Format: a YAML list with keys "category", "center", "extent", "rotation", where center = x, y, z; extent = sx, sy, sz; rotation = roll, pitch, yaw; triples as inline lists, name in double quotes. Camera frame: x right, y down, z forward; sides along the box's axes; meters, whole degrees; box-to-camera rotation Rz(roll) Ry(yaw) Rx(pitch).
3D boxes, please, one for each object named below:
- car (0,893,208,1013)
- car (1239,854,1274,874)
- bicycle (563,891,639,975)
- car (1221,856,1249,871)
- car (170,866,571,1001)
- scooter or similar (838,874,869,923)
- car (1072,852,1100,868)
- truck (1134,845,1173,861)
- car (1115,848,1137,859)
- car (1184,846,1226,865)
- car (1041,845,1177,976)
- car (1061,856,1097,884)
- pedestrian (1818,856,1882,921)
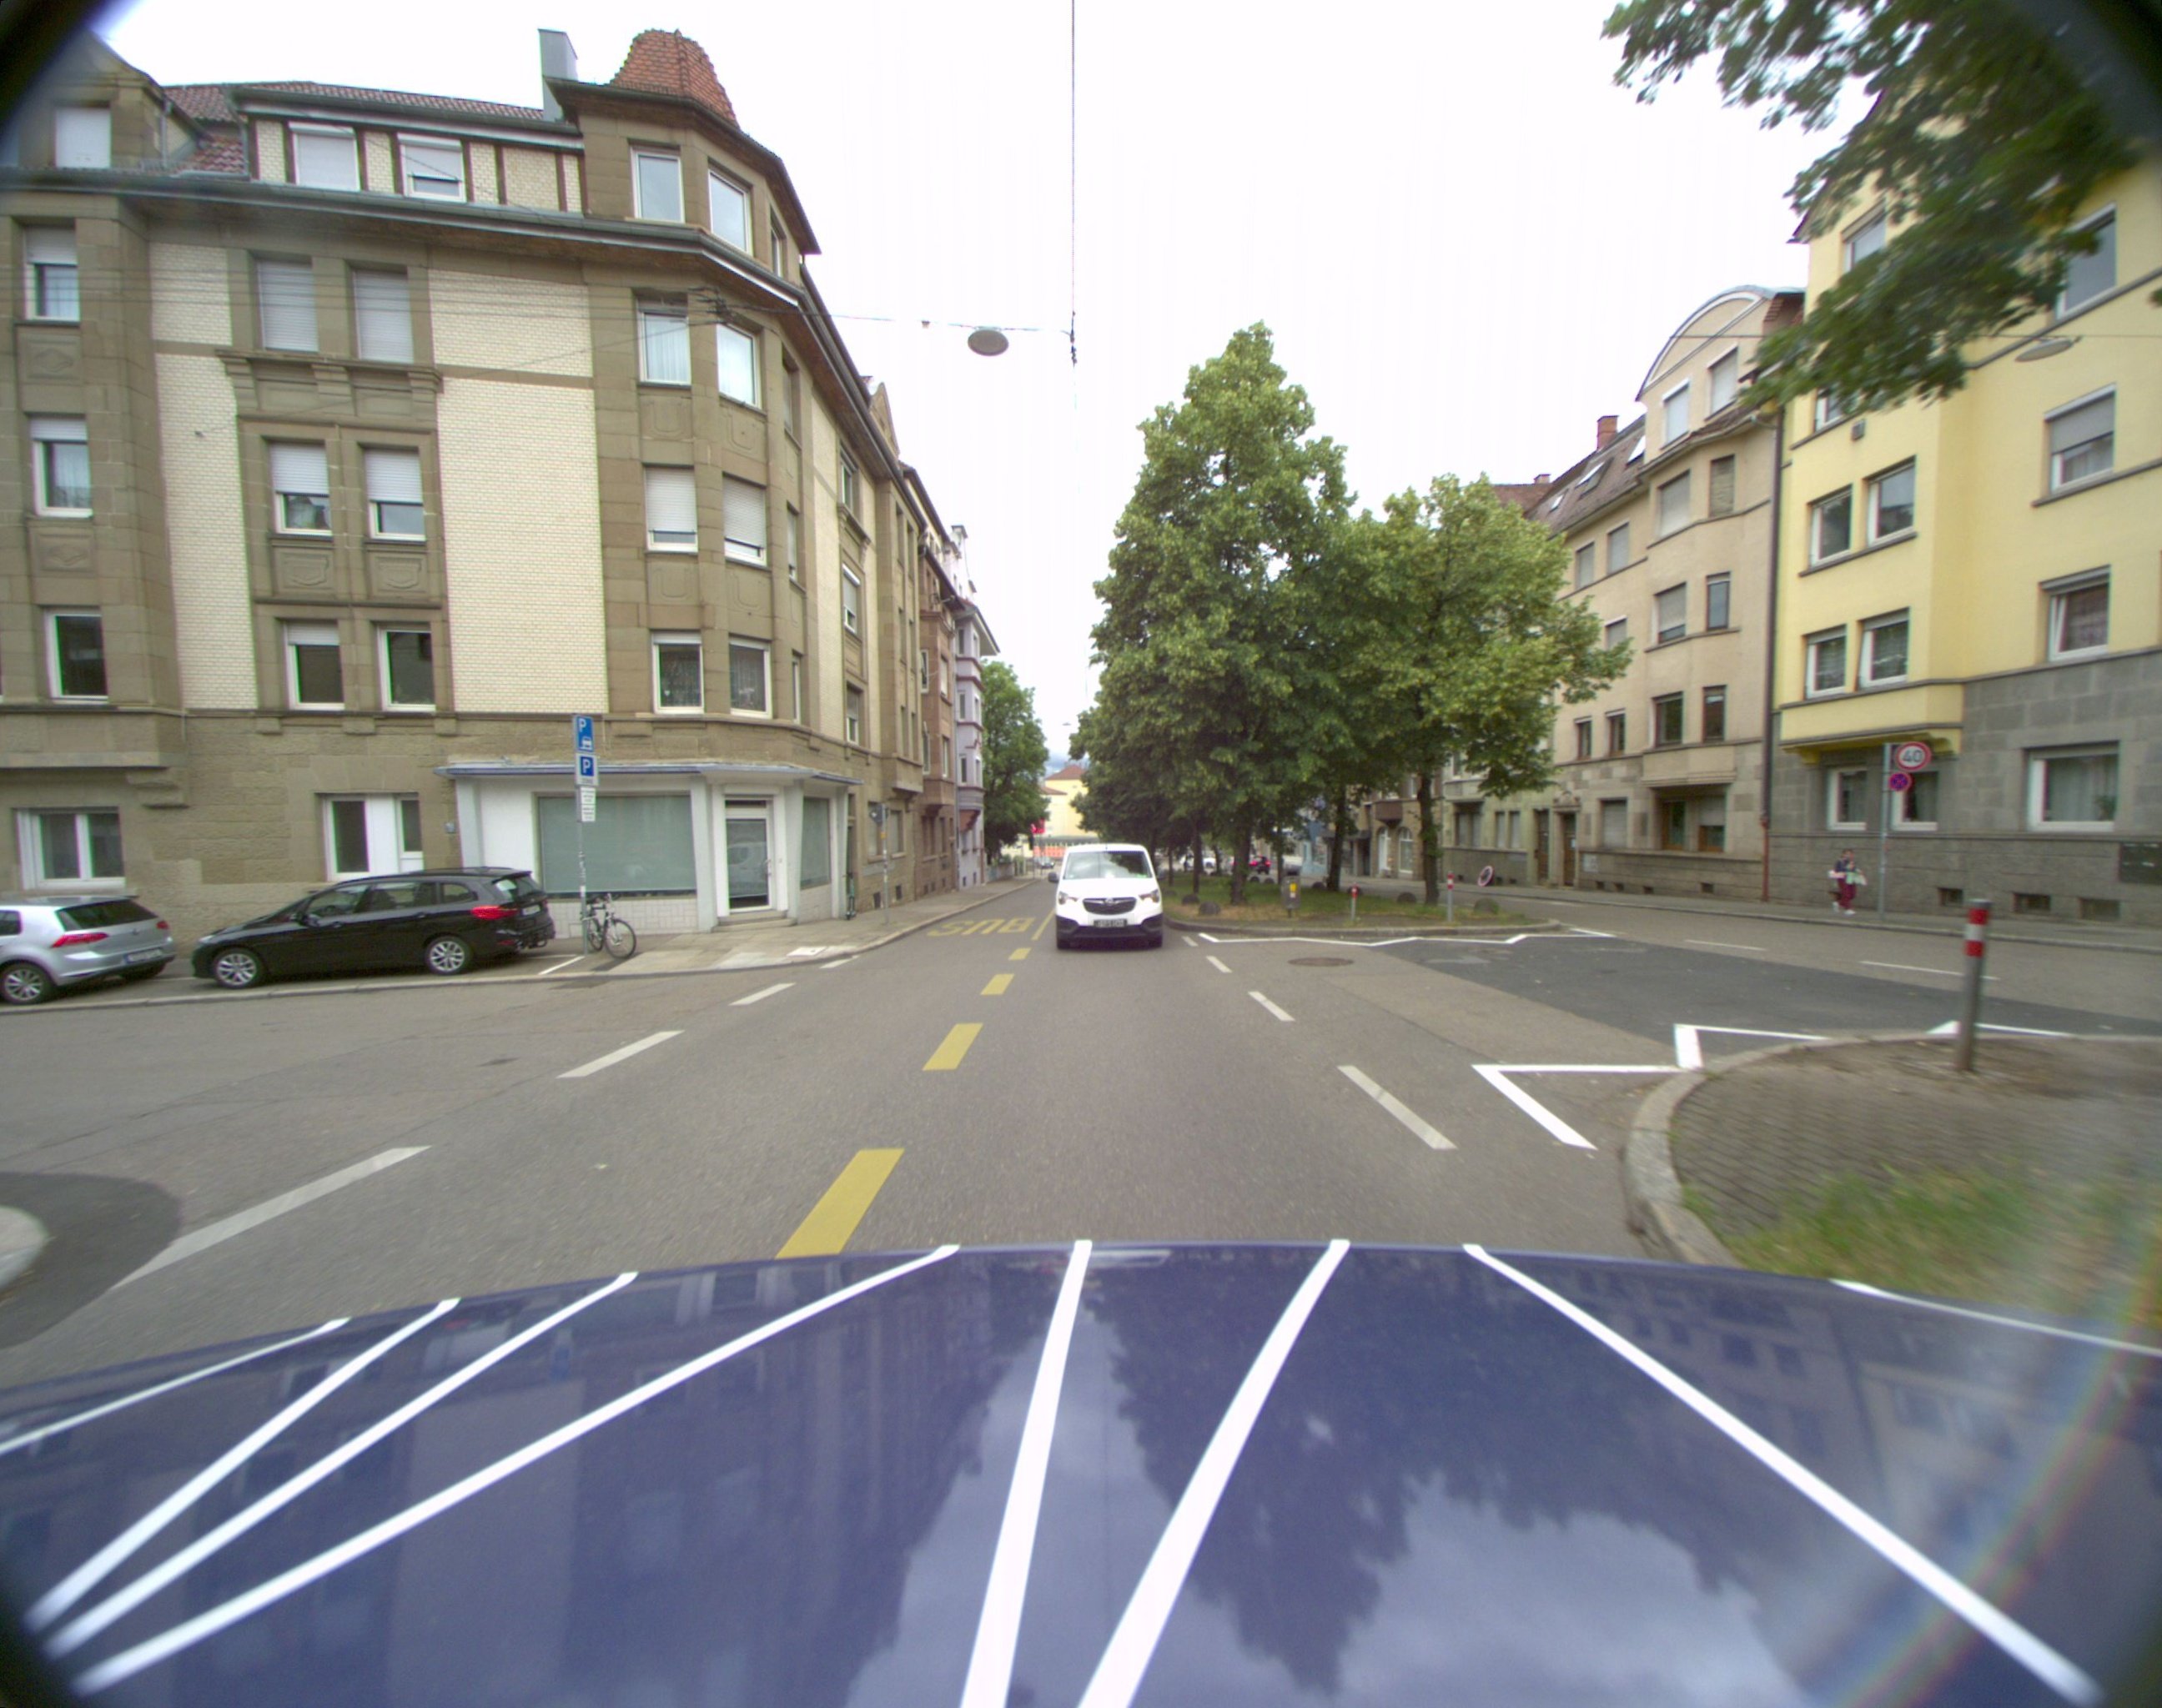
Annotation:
- category: "car"
  center: [-16.310, 1.504, 11.405]
  extent: [3.874, 1.455, 1.685]
  rotation: [-2, 5, -10]
- category: "car"
  center: [15.237, 0.823, 66.155]
  extent: [1.820, 1.627, 4.678]
  rotation: [1, 1, -1]
- category: "bicycle"
  center: [-8.421, 1.330, 13.285]
  extent: [0.642, 1.134, 2.068]
  rotation: [-6, 7, -43]
- category: "car"
  center: [14.939, 0.925, 73.922]
  extent: [1.673, 1.398, 4.294]
  rotation: [0, 0, -2]
- category: "car"
  center: [-11.244, 1.192, 12.412]
  extent: [4.378, 1.637, 1.783]
  rotation: [-2, 5, -11]
- category: "scooter or similar"
  center: [-5.832, 1.135, 19.497]
  extent: [0.411, 1.202, 1.146]
  rotation: [1, -3, 0]
- category: "car"
  center: [0.506, 0.651, 78.774]
  extent: [1.955, 1.541, 4.031]
  rotation: [-2, 0, -13]
- category: "truck"
  center: [12.627, -0.174, 132.362]
  extent: [6.467, 2.707, 2.765]
  rotation: [0, 0, -34]
- category: "car"
  center: [7.527, -0.093, 125.740]
  extent: [2.207, 1.563, 4.483]
  rotation: [-1, 2, 22]
- category: "car"
  center: [14.308, 0.197, 87.840]
  extent: [4.258, 2.002, 2.003]
  rotation: [-1, 3, 31]
- category: "car"
  center: [0.512, 0.829, 13.265]
  extent: [1.857, 1.798, 4.730]
  rotation: [-3, 0, 3]
- category: "car"
  center: [-0.159, 0.957, 47.059]
  extent: [2.038, 1.541, 4.035]
  rotation: [-2, 0, -1]
- category: "pedestrian"
  center: [17.602, 0.776, 17.402]
  extent: [0.700, 1.452, 0.704]
  rotation: [-2, 0, 1]
